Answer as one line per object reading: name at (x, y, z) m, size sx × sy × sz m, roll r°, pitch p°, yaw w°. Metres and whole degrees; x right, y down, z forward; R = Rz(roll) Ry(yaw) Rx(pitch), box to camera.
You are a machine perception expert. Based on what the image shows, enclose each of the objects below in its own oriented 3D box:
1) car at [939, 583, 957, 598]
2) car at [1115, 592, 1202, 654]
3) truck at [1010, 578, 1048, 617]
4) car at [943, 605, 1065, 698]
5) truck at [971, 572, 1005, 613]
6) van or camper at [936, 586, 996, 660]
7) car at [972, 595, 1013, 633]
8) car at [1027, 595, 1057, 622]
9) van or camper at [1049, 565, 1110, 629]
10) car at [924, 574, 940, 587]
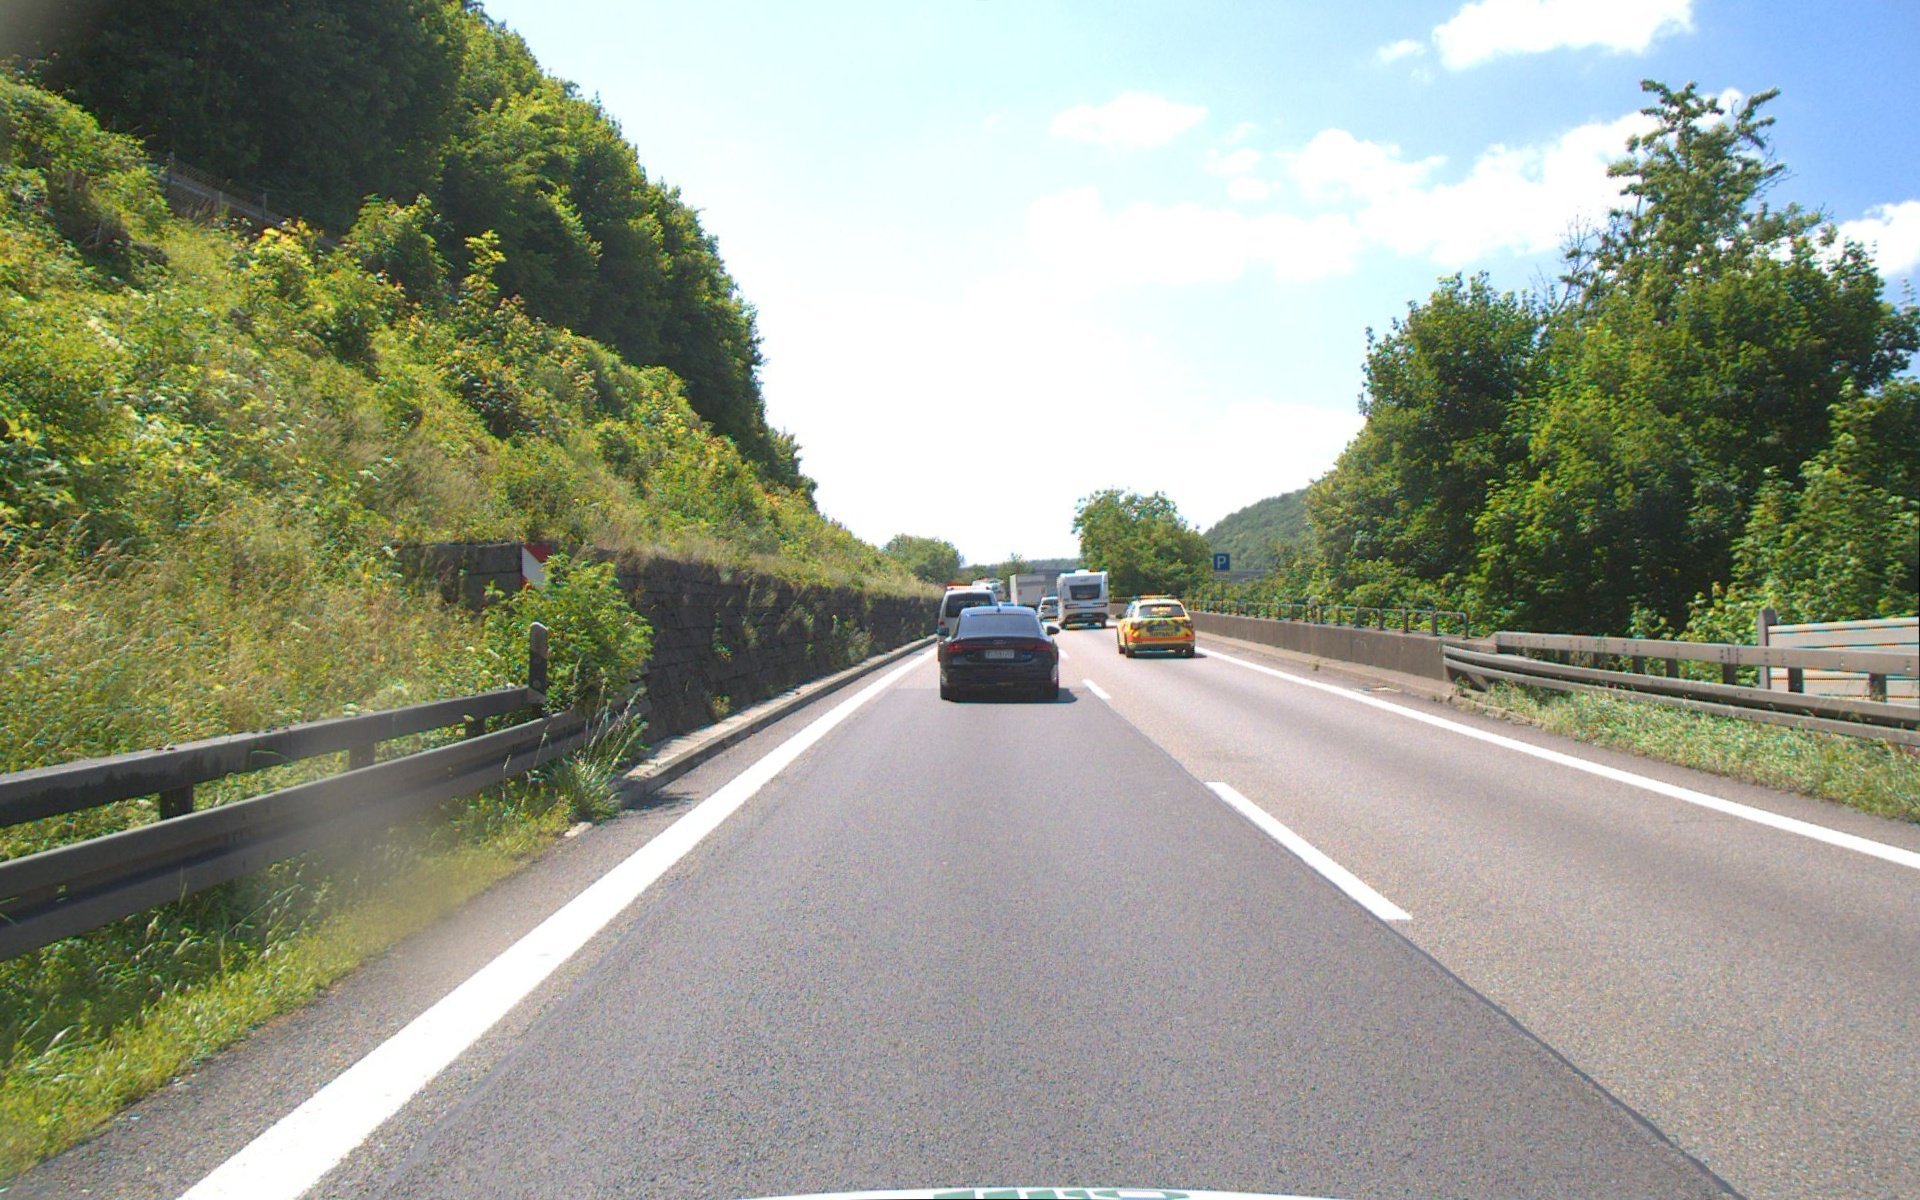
car at (-1.623, -1.317, 225.243) m, size 1.956 × 2.049 × 3.994 m, roll 0°, pitch 0°, yaw -7°
car at (5.162, 0.612, 43.392) m, size 1.824 × 1.514 × 4.000 m, roll 1°, pitch -1°, yaw 1°
truck at (5.802, -0.232, 139.945) m, size 2.783 × 3.186 × 7.478 m, roll 1°, pitch 0°, yaw -1°
car at (0.645, 0.803, 26.709) m, size 1.800 × 1.373 × 3.999 m, roll 1°, pitch -1°, yaw -1°
truck at (2.887, -0.815, 173.114) m, size 2.680 × 4.168 × 7.469 m, roll 1°, pitch 0°, yaw -6°
van or camper at (0.122, 0.619, 43.582) m, size 1.364 × 1.848 × 3.997 m, roll 1°, pitch -1°, yaw -3°
car at (1.495, 0.637, 76.783) m, size 1.737 × 1.665 × 3.999 m, roll 1°, pitch 0°, yaw -1°
car at (5.485, 0.572, 111.053) m, size 1.803 × 1.747 × 4.000 m, roll 1°, pitch 0°, yaw 1°
van or camper at (5.737, -0.080, 80.342) m, size 2.405 × 2.969 × 6.124 m, roll 1°, pitch -1°, yaw -1°
car at (-4.222, -2.952, 251.580) m, size 1.956 × 2.049 × 3.994 m, roll 0°, pitch 0°, yaw -7°
